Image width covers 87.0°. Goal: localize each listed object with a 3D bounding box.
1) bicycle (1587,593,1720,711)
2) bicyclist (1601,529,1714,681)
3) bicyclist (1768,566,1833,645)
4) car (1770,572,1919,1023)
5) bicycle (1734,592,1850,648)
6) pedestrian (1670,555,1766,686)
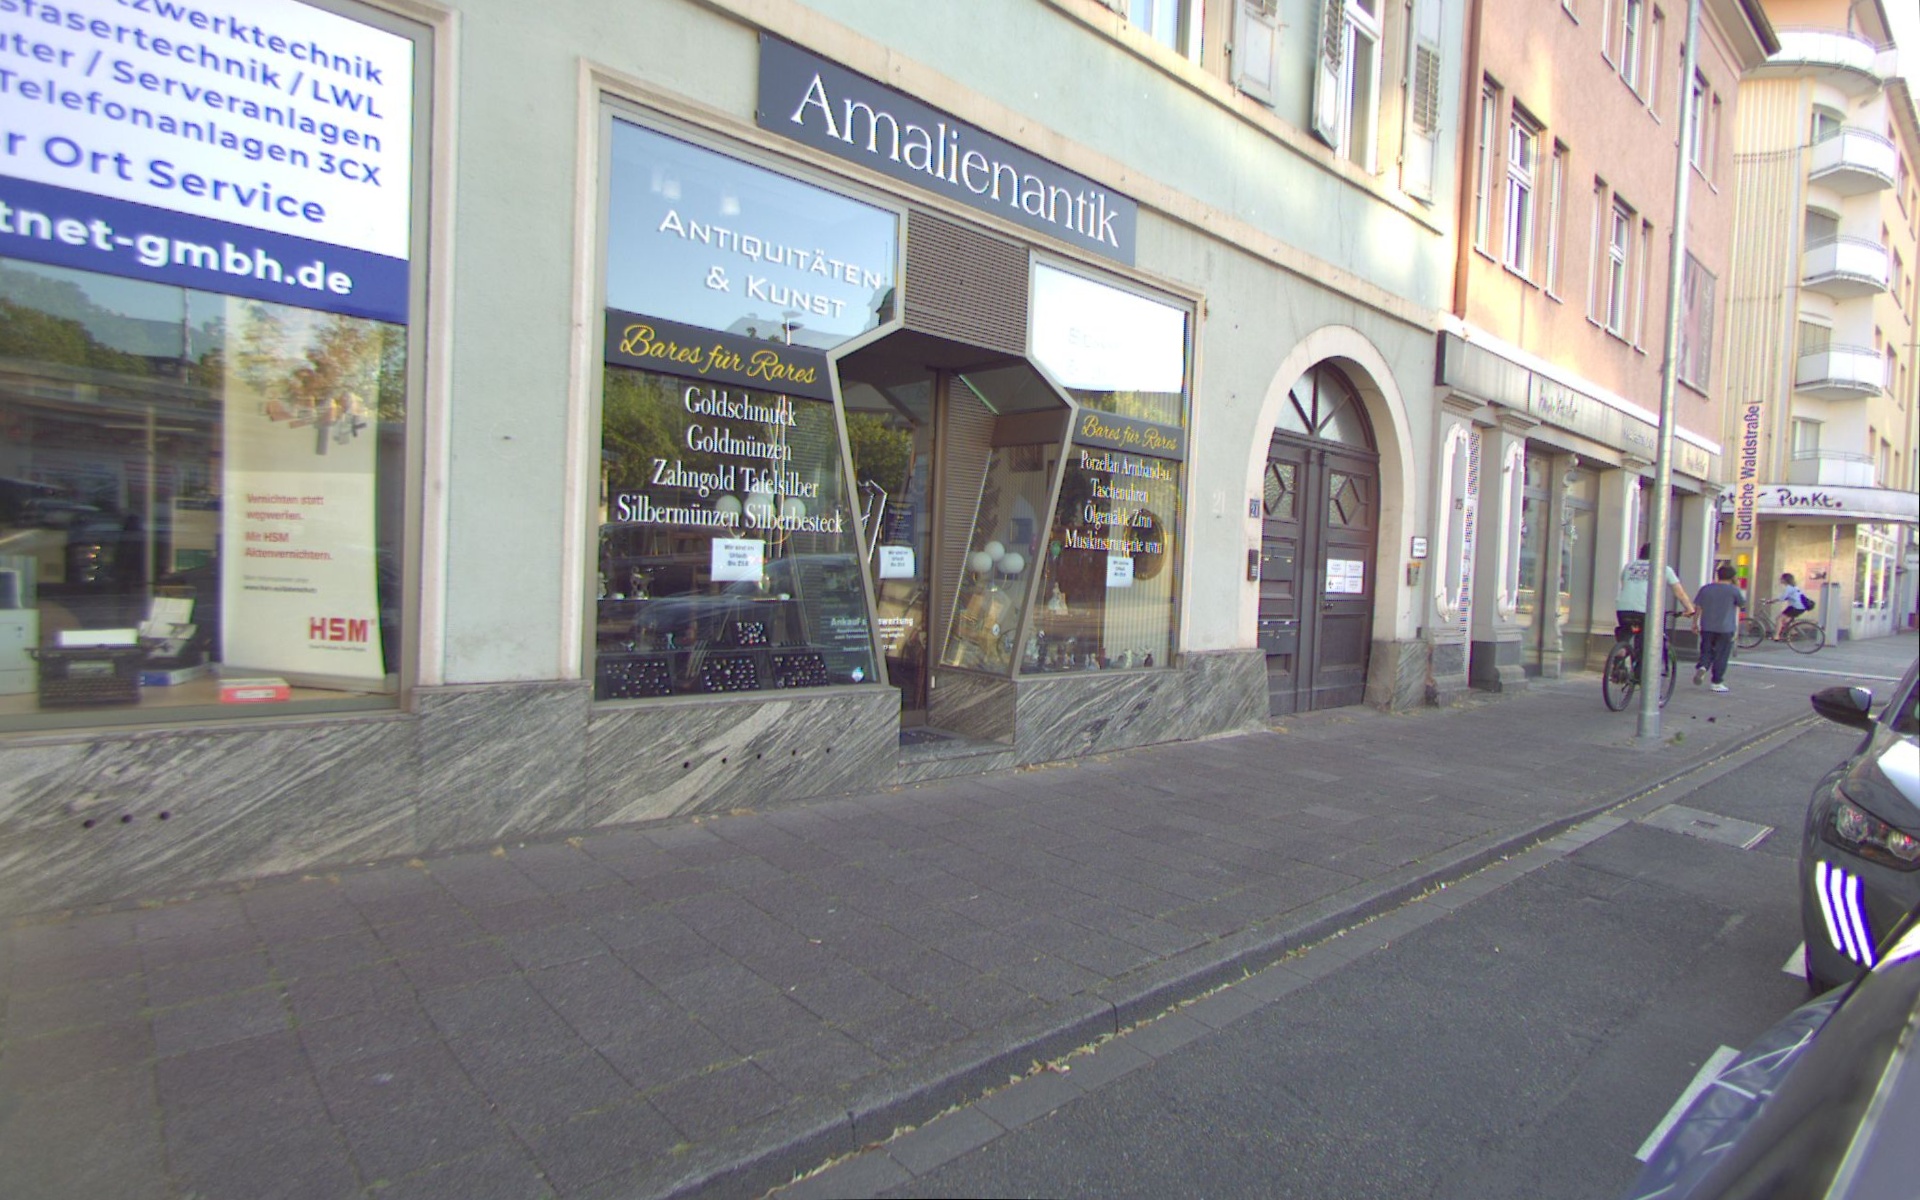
[{"bbox_3d":[7.388,0.505,10.753,1.863,1.121,0.691,0,2,-42],"label":"bicycle"},{"bbox_3d":[7.388,0.029,10.718,0.884,1.526,0.723,1,2,-40],"label":"bicyclist"},{"bbox_3d":[19.279,0.119,23.222,0.838,1.745,0.780,1,2,-26],"label":"bicyclist"},{"bbox_3d":[5.127,0.667,4.362,4.374,1.464,1.906,0,2,-43],"label":"car"},{"bbox_3d":[19.177,0.440,23.385,0.690,1.131,1.926,1,2,-24],"label":"bicycle"},{"bbox_3d":[10.187,0.255,13.602,0.857,1.662,0.824,0,3,-43],"label":"pedestrian"}]
